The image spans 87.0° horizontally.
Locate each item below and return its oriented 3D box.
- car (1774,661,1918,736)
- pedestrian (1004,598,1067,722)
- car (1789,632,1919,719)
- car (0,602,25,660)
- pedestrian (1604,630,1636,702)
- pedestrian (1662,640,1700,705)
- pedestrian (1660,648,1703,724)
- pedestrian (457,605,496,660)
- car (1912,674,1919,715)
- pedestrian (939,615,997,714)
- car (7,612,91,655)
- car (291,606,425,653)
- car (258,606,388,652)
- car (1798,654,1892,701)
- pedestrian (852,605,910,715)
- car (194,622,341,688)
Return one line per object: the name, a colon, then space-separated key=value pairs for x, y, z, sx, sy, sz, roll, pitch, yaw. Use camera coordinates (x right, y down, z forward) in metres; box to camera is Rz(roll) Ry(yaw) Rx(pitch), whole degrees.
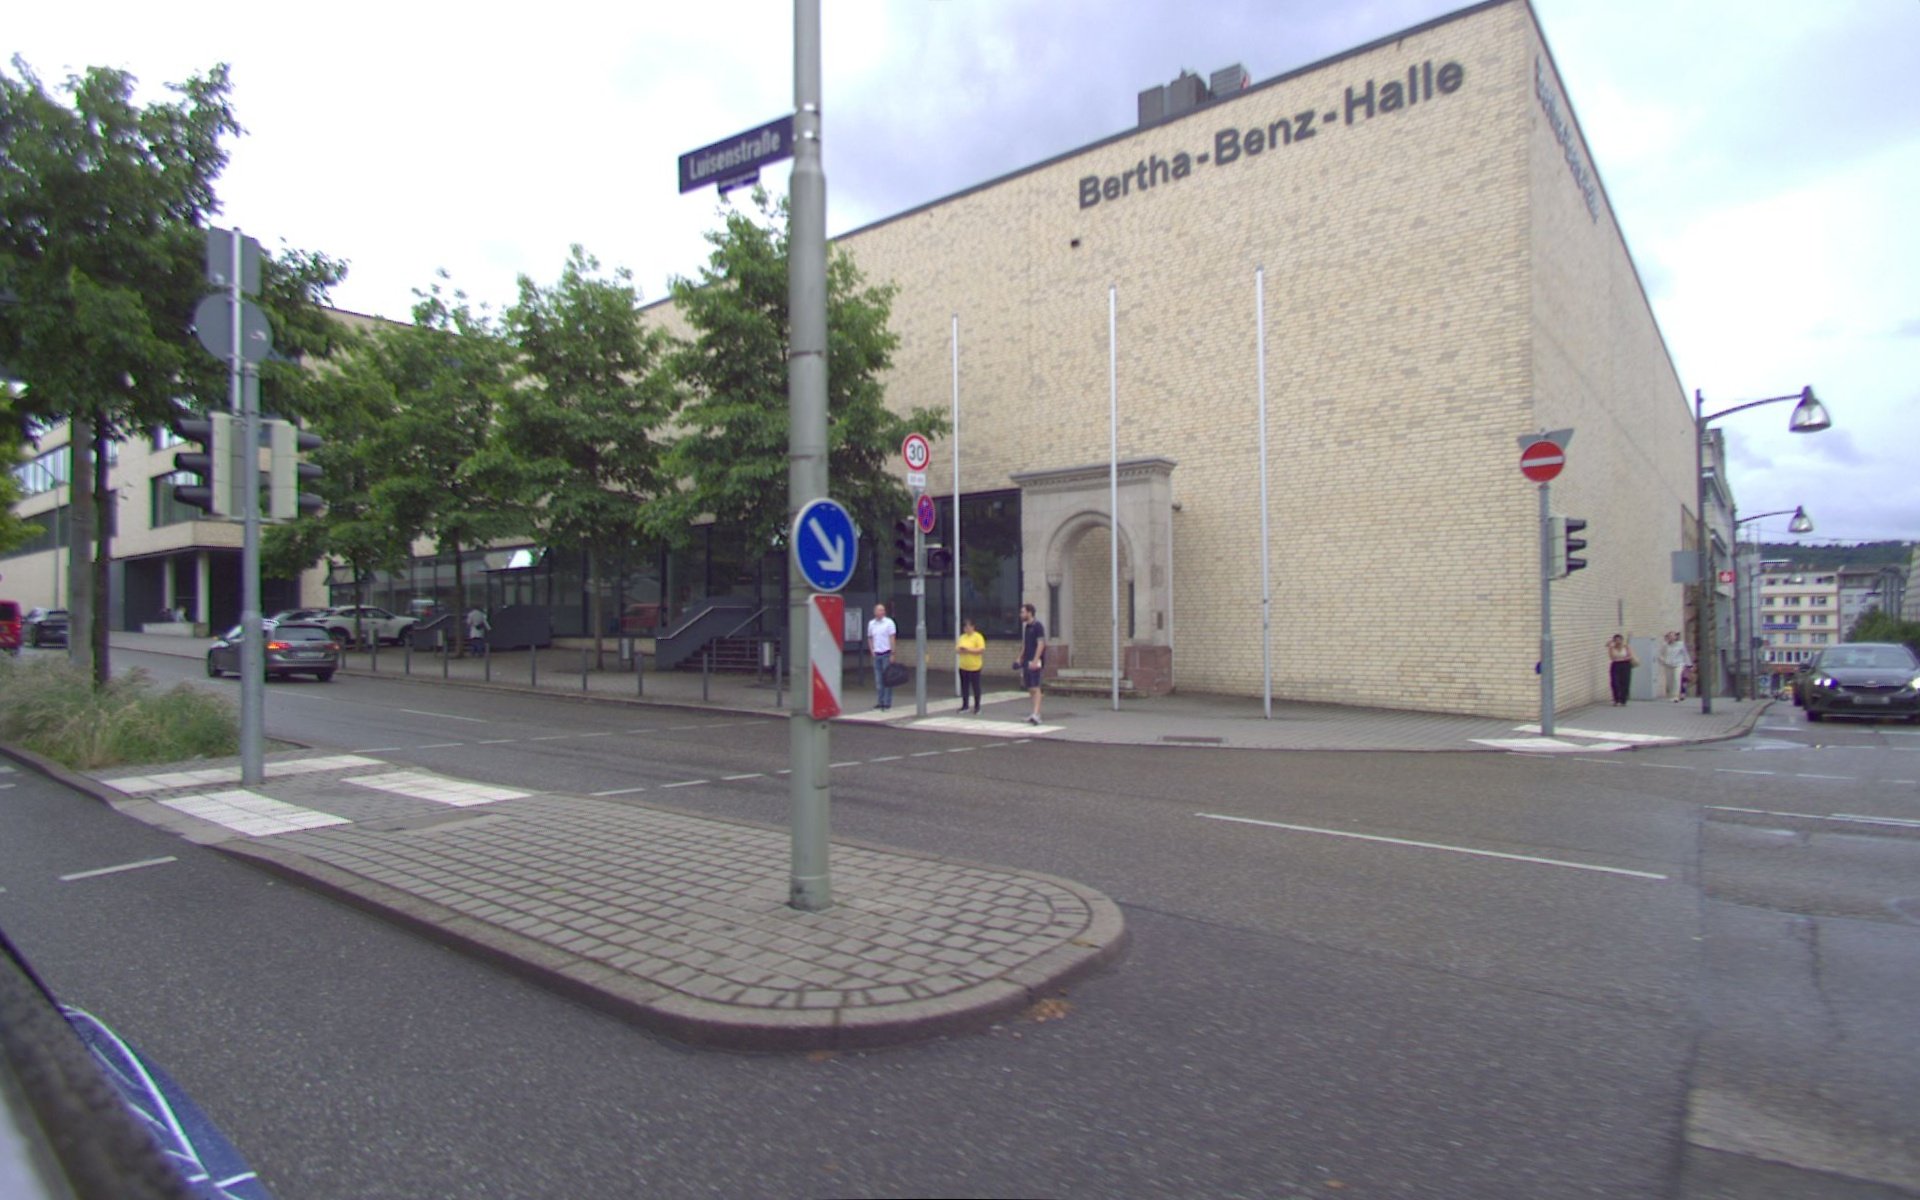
car: x=19.596 y=2.152 z=22.562 sx=1.996 sy=1.469 sz=3.951 roll=-1 pitch=-5 yaw=36
pedestrian: x=1.120 y=0.866 z=15.059 sx=0.691 sy=1.784 sz=0.588 roll=-1 pitch=0 yaw=38
car: x=16.804 y=1.402 z=18.627 sx=1.995 sy=1.453 sz=3.953 roll=-1 pitch=-5 yaw=34
car: x=-32.837 y=0.999 z=33.589 sx=4.293 sy=1.866 sz=1.833 roll=-1 pitch=-4 yaw=37
pedestrian: x=13.264 y=1.309 z=20.335 sx=0.474 sy=1.386 sz=0.615 roll=-1 pitch=0 yaw=39
pedestrian: x=19.963 y=1.978 z=28.016 sx=0.806 sy=1.684 sz=1.100 roll=-1 pitch=0 yaw=36
pedestrian: x=17.471 y=2.059 z=24.497 sx=0.806 sy=1.713 sz=1.100 roll=-1 pitch=0 yaw=36
pedestrian: x=-15.030 y=1.005 z=31.479 sx=0.793 sy=1.659 sz=0.976 roll=-1 pitch=0 yaw=-45
car: x=35.315 y=3.367 z=35.776 sx=1.997 sy=1.469 sz=3.949 roll=-1 pitch=-5 yaw=38
pedestrian: x=0.135 y=1.009 z=16.226 sx=0.691 sy=1.528 sz=0.588 roll=-1 pitch=0 yaw=38
car: x=-36.456 y=1.350 z=40.456 sx=4.293 sy=1.620 sz=1.655 roll=-1 pitch=-4 yaw=37
car: x=-22.817 y=1.068 z=38.445 sx=2.000 sy=1.597 sz=3.944 roll=-1 pitch=0 yaw=42
car: x=-25.036 y=1.110 z=39.869 sx=2.000 sy=1.597 sz=3.944 roll=-1 pitch=0 yaw=42
car: x=30.030 y=2.642 z=34.441 sx=1.996 sy=1.469 sz=3.951 roll=-1 pitch=-5 yaw=36
pedestrian: x=-1.290 y=0.966 z=16.554 sx=0.690 sy=1.744 sz=0.589 roll=-1 pitch=0 yaw=34
car: x=-16.991 y=1.312 z=24.772 sx=4.293 sy=1.481 sz=1.655 roll=-1 pitch=-3 yaw=37
